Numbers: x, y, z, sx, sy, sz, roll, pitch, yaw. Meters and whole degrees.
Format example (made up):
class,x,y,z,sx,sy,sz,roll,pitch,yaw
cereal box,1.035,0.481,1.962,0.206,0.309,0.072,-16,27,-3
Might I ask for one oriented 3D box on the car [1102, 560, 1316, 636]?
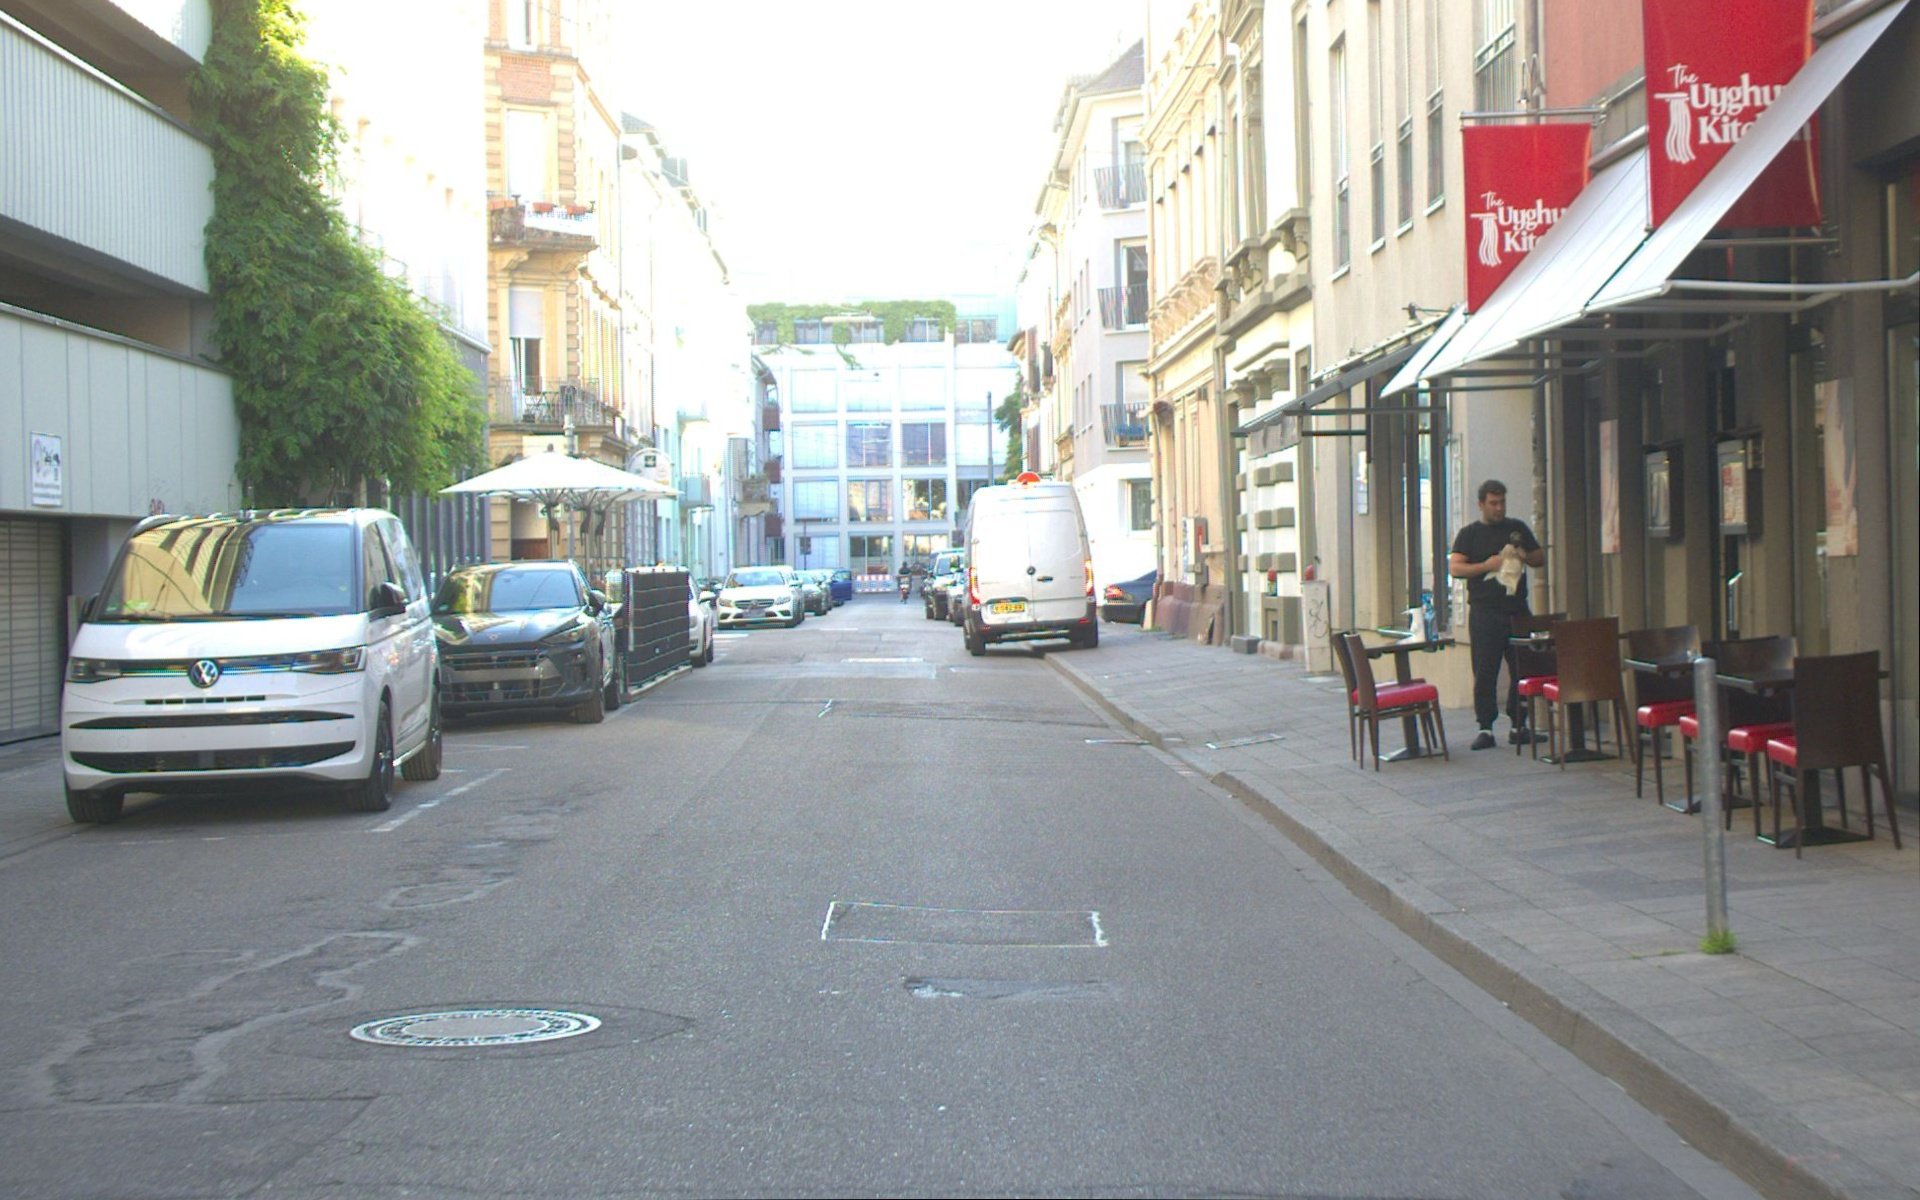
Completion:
class,x,y,z,sx,sy,sz,roll,pitch,yaw
car,4.781,-0.040,66.329,3.987,1.415,1.656,-1,0,0

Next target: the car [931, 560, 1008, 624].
class,x,y,z,sx,sy,sz,roll,pitch,yaw
car,0.237,-0.209,92.056,1.993,1.678,4.000,-1,0,-1

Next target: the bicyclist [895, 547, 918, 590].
class,x,y,z,sx,sy,sz,roll,pitch,yaw
bicyclist,-2.351,-1.388,151.250,0.990,1.862,0.708,-1,0,-1

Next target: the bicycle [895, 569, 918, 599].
class,x,y,z,sx,sy,sz,roll,pitch,yaw
bicycle,-2.340,-0.688,151.328,0.975,1.276,2.754,-1,0,-1

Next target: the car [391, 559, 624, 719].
class,x,y,z,sx,sy,sz,roll,pitch,yaw
car,-4.353,0.335,33.598,1.883,1.448,4.000,-1,1,-2

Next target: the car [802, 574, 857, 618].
class,x,y,z,sx,sy,sz,roll,pitch,yaw
car,-5.083,-0.139,134.352,1.993,1.678,4.000,-1,0,-1

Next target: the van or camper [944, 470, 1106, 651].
class,x,y,z,sx,sy,sz,roll,pitch,yaw
van or camper,0.991,-0.609,55.641,2.258,2.598,5.112,-5,0,-1

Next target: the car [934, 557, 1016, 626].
class,x,y,z,sx,sy,sz,roll,pitch,yaw
car,0.363,-0.212,87.265,1.993,1.678,4.000,-1,0,-1

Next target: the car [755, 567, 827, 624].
class,x,y,z,sx,sy,sz,roll,pitch,yaw
car,-5.094,-0.144,104.155,1.993,1.678,4.000,-1,0,-1

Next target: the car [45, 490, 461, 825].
class,x,y,z,sx,sy,sz,roll,pitch,yaw
car,-4.429,0.305,22.235,1.883,1.905,4.748,-1,1,-3

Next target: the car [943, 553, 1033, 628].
class,x,y,z,sx,sy,sz,roll,pitch,yaw
car,0.633,-0.216,80.213,1.993,1.678,4.000,-1,0,-1

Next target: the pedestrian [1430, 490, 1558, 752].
class,x,y,z,sx,sy,sz,roll,pitch,yaw
pedestrian,3.492,0.133,22.512,0.662,1.660,0.624,-3,1,-1

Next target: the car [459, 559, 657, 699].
class,x,y,z,sx,sy,sz,roll,pitch,yaw
car,-4.439,0.286,38.483,1.883,1.448,4.000,-1,1,-2

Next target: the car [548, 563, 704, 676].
class,x,y,z,sx,sy,sz,roll,pitch,yaw
car,-4.519,0.227,46.956,1.883,1.448,4.000,-1,1,-2

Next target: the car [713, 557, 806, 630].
class,x,y,z,sx,sy,sz,roll,pitch,yaw
car,-4.734,-0.154,81.572,1.993,1.678,4.000,-1,0,-1

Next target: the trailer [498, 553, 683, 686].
class,x,y,z,sx,sy,sz,roll,pitch,yaw
trailer,-4.531,0.230,42.658,1.993,1.552,4.000,-1,0,-2
